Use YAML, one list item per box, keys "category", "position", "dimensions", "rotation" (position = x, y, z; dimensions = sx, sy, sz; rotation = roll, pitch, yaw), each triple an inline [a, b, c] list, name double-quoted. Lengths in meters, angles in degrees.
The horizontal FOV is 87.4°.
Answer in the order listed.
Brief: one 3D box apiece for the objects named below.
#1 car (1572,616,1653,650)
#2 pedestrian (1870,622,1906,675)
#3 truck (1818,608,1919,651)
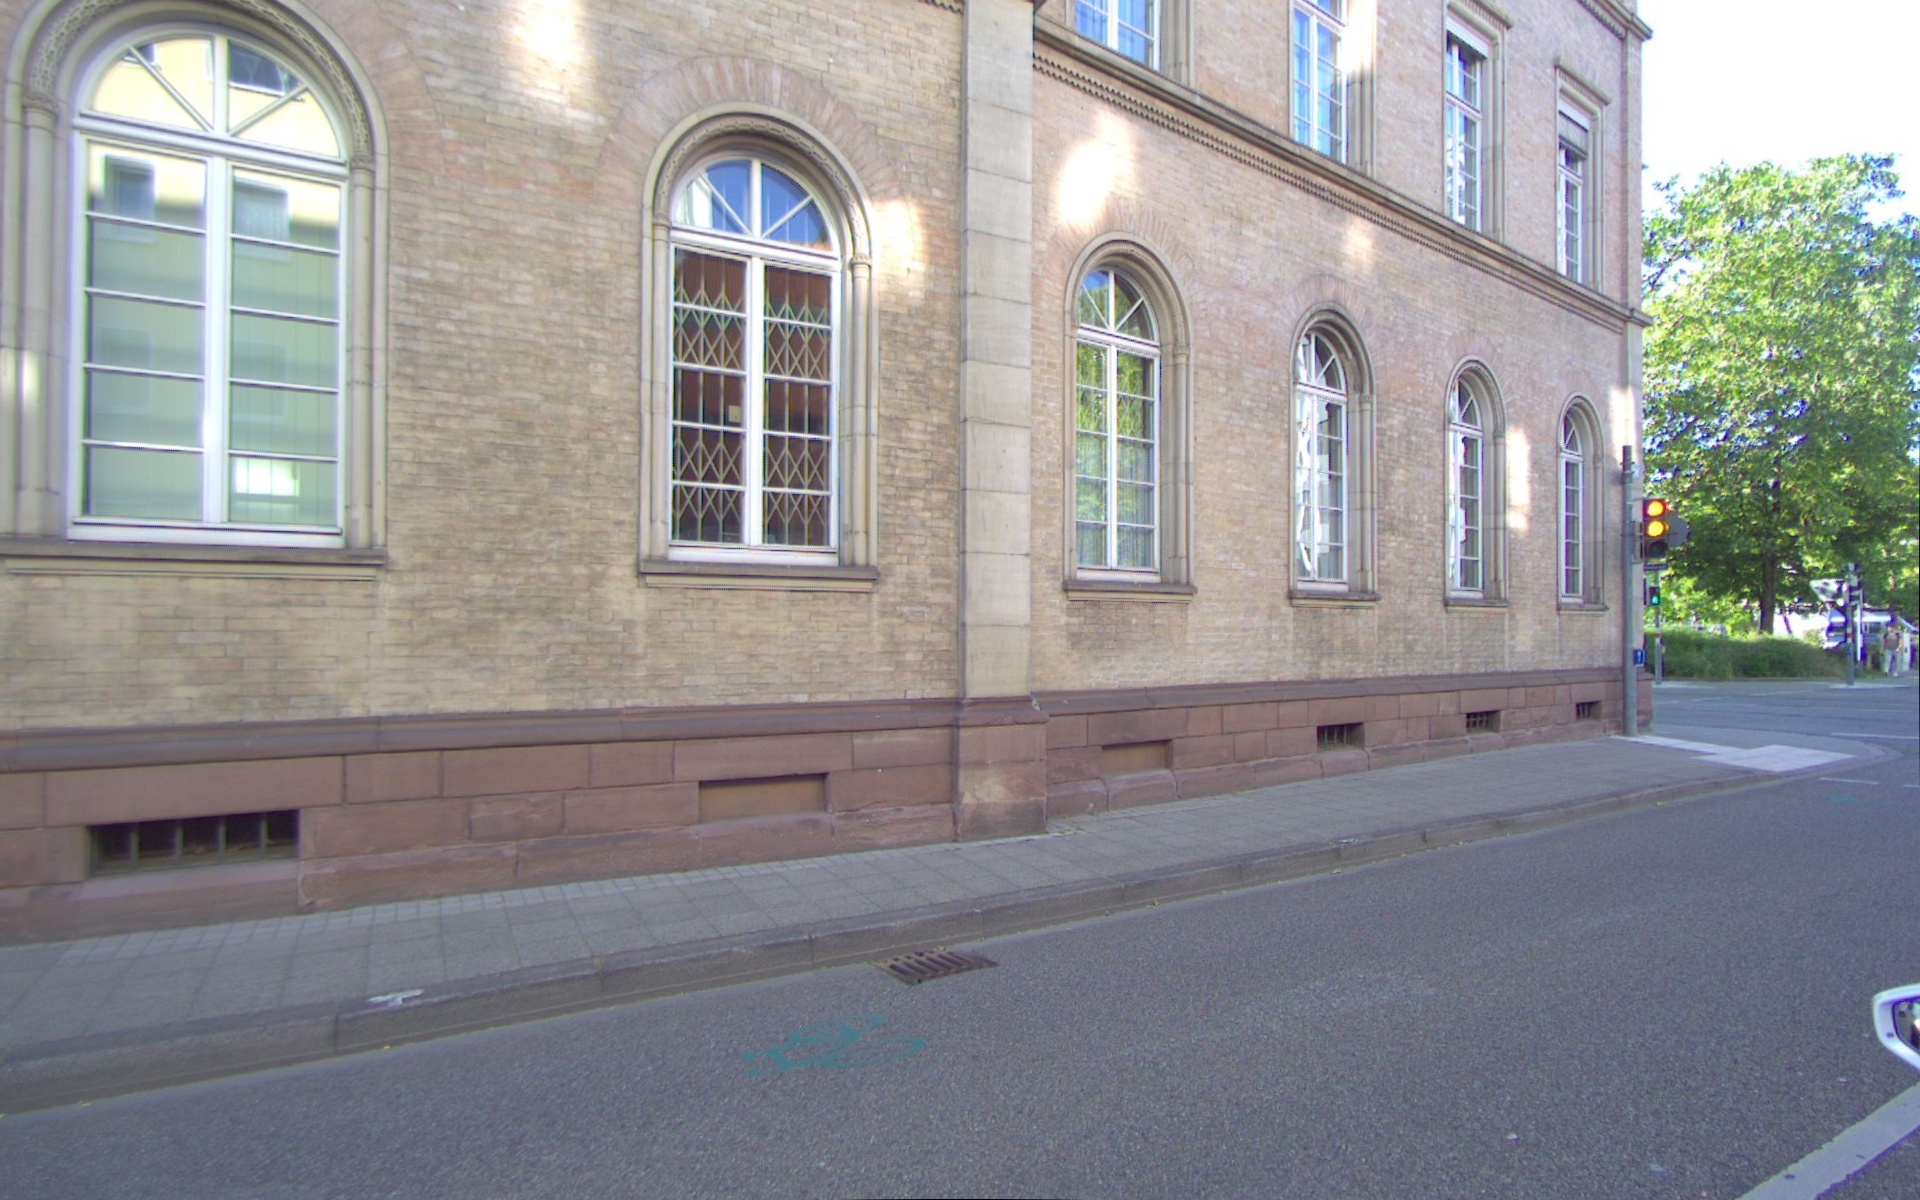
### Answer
- category: "car"
  position: [47.834, 2.475, 73.728]
  dimensions: [2.056, 2.423, 4.521]
  rotation: [2, -3, -38]
- category: "pedestrian"
  position: [31.028, 1.622, 33.578]
  dimensions: [0.946, 1.745, 0.698]
  rotation: [1, -3, -38]
- category: "truck"
  position: [53.760, 1.675, 59.075]
  dimensions: [2.069, 2.431, 4.790]
  rotation: [1, -1, -39]
